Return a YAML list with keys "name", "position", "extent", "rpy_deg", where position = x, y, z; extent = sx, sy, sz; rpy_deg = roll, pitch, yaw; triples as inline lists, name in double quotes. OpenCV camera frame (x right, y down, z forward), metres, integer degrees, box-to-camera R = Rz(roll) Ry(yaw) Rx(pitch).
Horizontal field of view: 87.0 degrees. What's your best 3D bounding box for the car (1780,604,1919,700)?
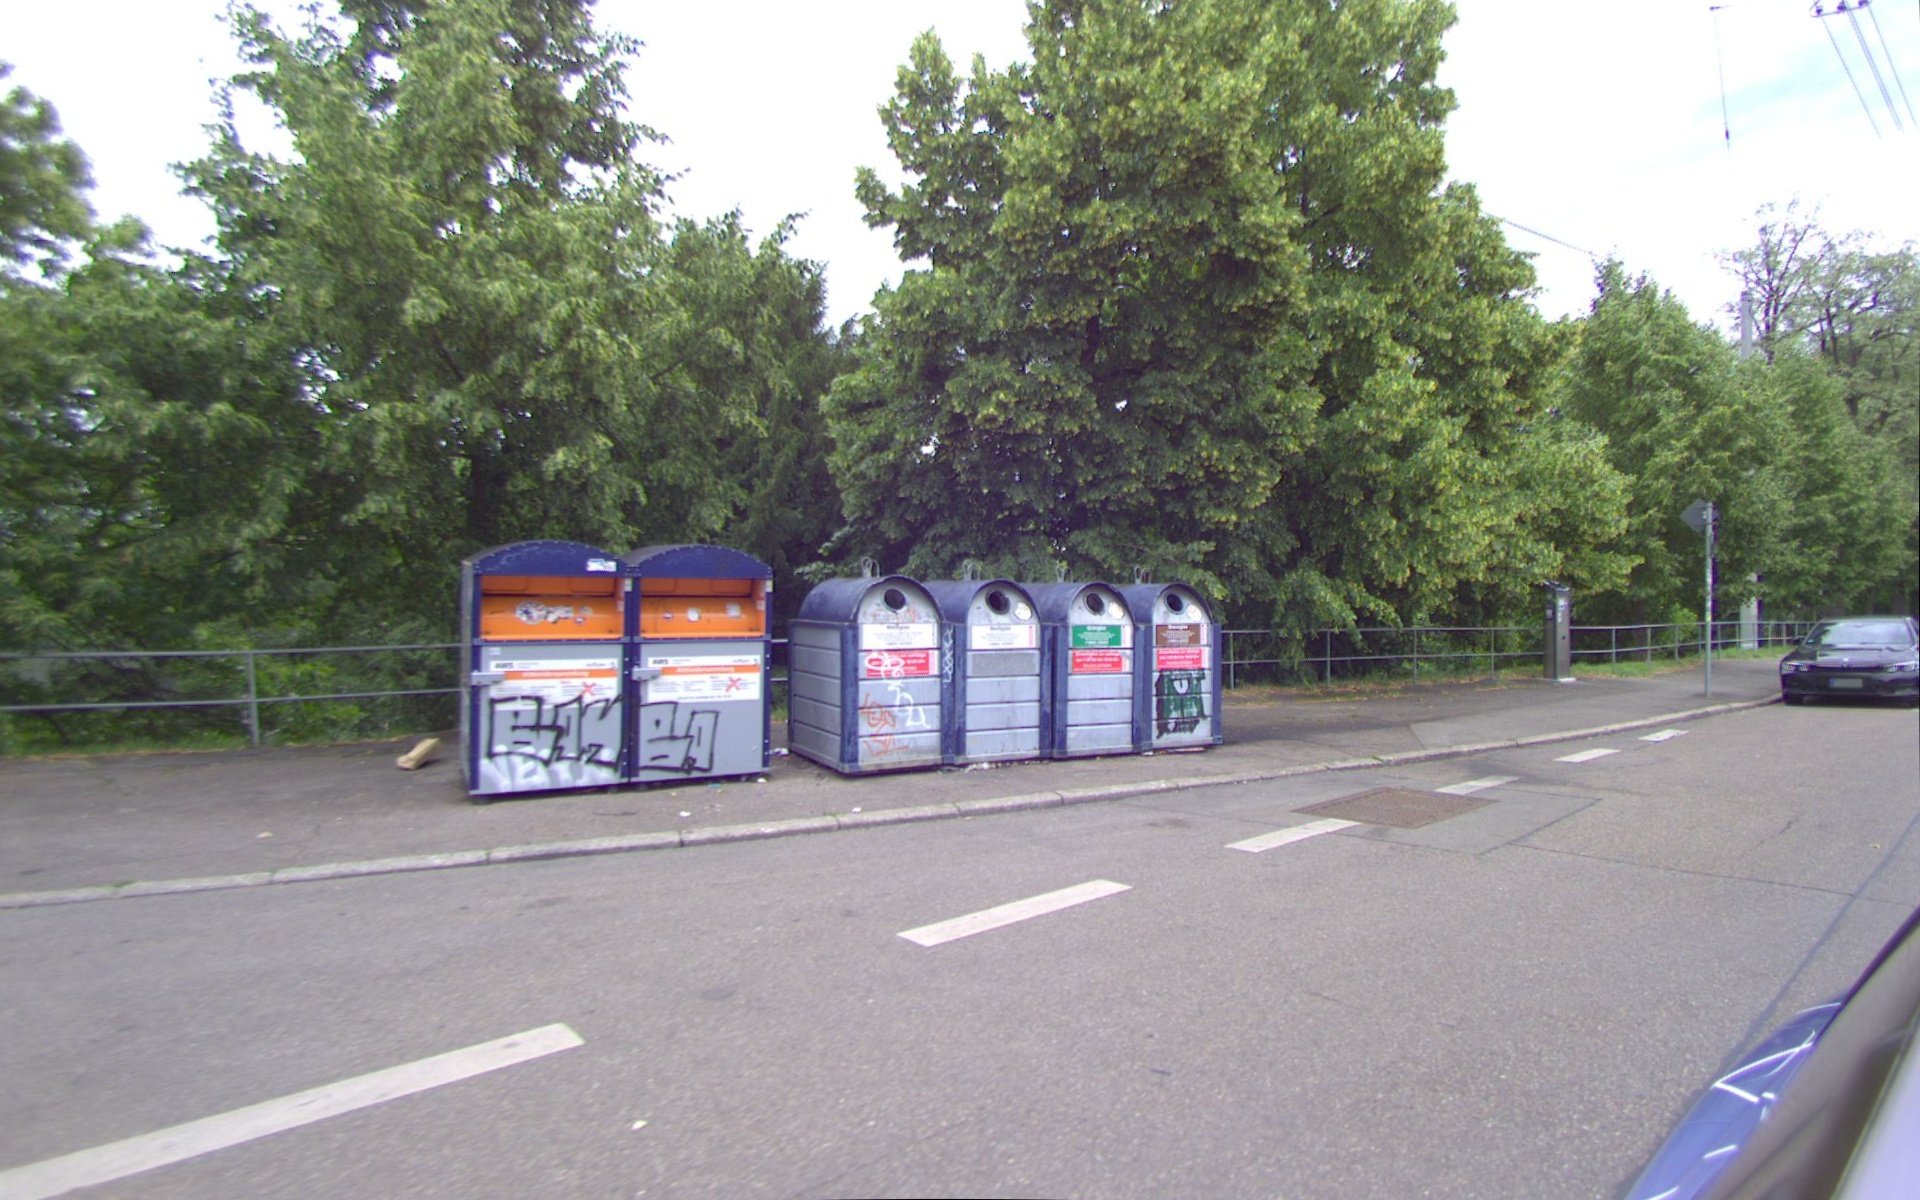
- name: "car"
  position: [15.722, 0.814, 17.312]
  extent: [4.311, 1.461, 1.861]
  rpy_deg: [0, -2, -41]
